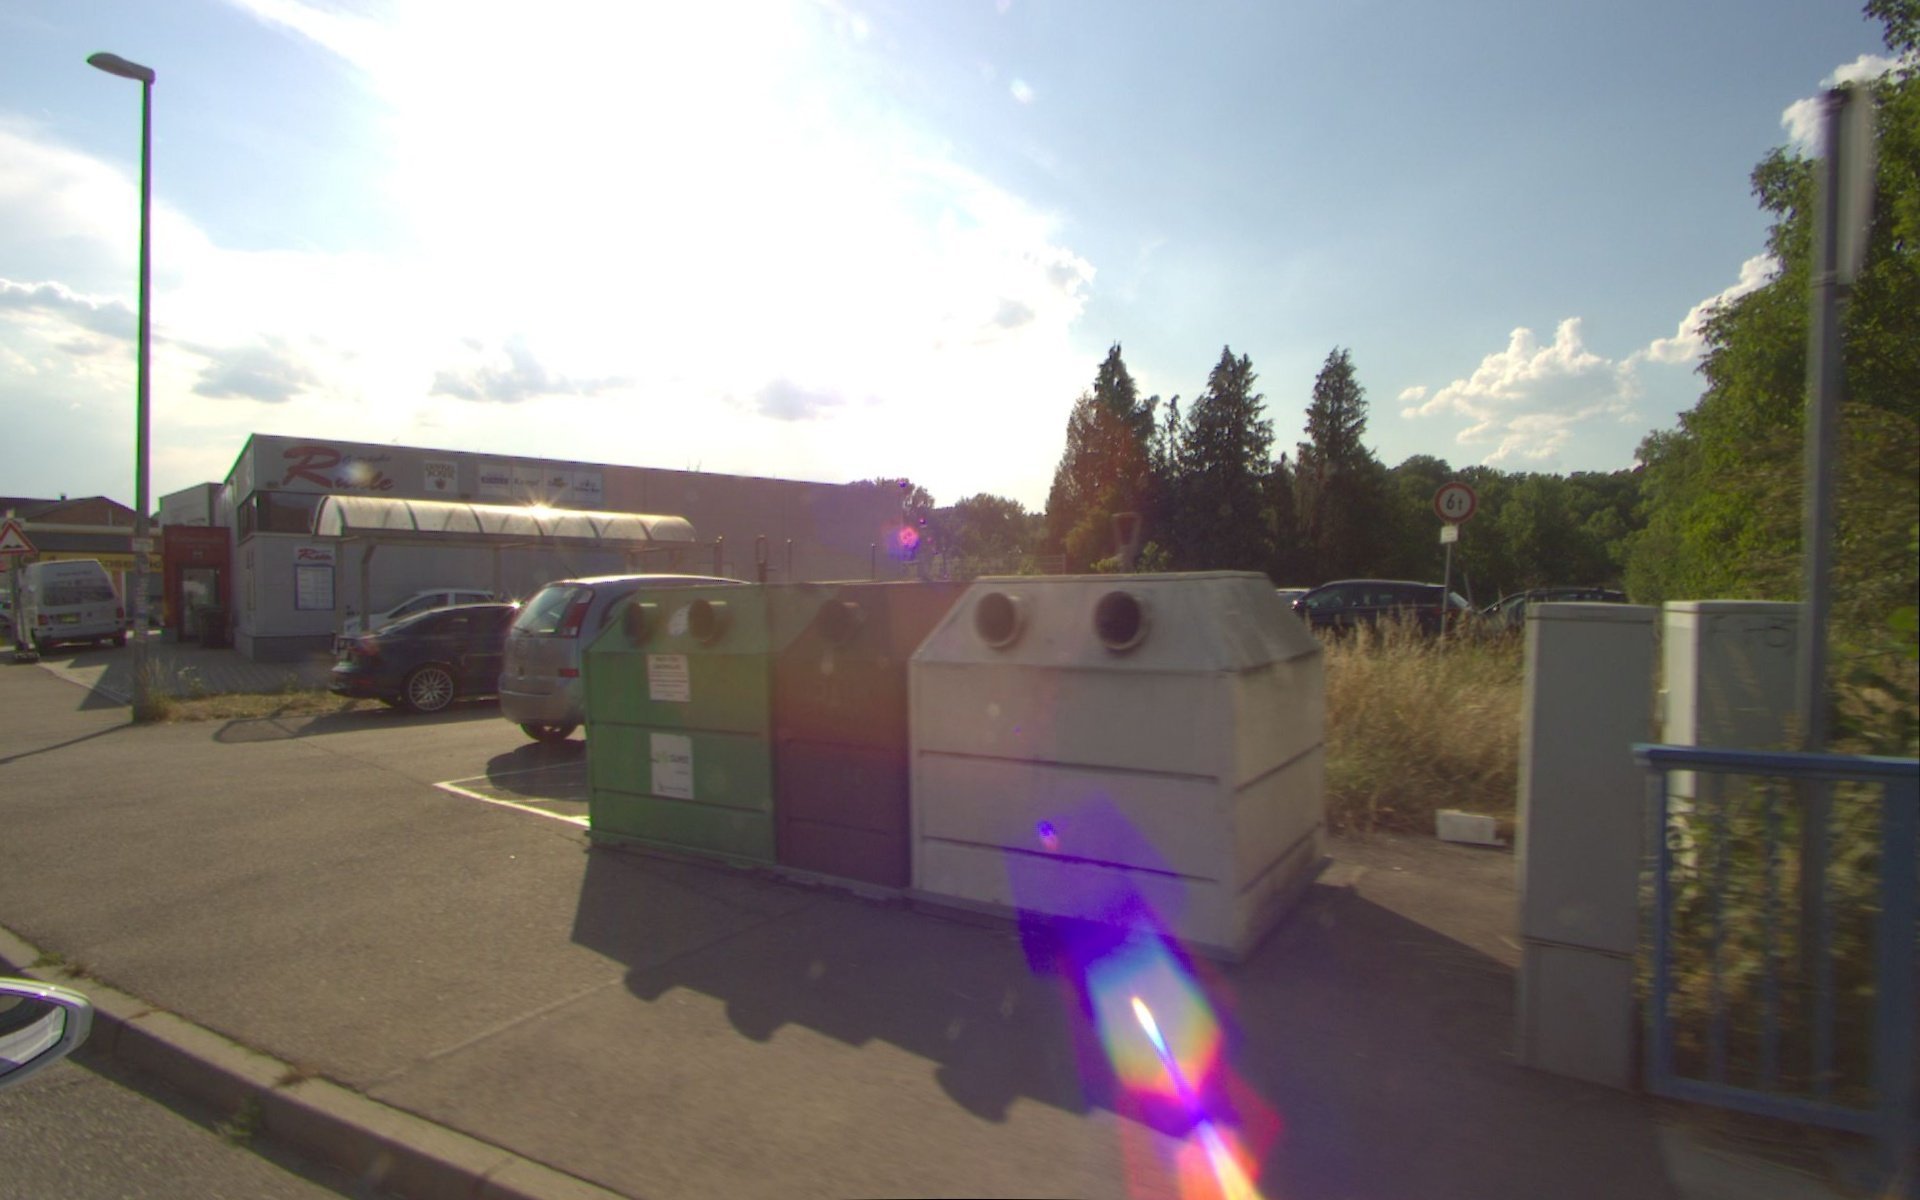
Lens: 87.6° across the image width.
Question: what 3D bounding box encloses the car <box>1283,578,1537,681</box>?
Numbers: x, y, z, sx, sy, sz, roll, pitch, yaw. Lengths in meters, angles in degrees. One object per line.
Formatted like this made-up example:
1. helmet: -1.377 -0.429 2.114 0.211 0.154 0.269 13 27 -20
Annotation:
1. car: 8.077 0.466 18.165 3.907 1.675 1.668 0 1 42

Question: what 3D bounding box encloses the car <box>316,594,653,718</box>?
1. car: -6.662 0.681 14.304 4.034 1.436 1.610 -2 2 -43

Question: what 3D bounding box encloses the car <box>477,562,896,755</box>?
1. car: -2.664 0.486 10.414 1.664 1.624 3.916 0 0 43

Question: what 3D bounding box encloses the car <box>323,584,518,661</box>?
1. car: -11.693 0.433 21.801 3.524 1.477 1.486 -2 3 -38

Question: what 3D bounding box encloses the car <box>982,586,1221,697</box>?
1. car: 2.256 0.543 15.254 1.664 1.468 3.916 0 0 43

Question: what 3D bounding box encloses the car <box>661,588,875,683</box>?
1. car: -3.298 0.550 17.588 3.411 1.436 1.484 -2 2 -43

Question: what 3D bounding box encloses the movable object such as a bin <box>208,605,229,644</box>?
1. movable object such as a bin: -19.014 0.613 25.679 0.425 0.979 0.427 -1 2 -39

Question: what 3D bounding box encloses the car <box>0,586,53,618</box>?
1. car: -50.955 0.092 53.212 1.978 1.630 3.965 1 1 42

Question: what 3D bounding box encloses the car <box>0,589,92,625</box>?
1. car: -41.597 0.305 44.830 1.509 1.552 3.967 1 1 41

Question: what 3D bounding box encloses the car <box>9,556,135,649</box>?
1. car: -25.222 0.018 28.387 5.115 2.408 1.827 1 3 40

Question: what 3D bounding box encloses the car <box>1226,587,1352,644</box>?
1. car: 9.650 0.406 29.207 4.145 1.531 1.719 -1 1 -43

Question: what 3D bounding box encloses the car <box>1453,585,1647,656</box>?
1. car: 13.569 0.427 23.144 1.665 1.520 3.541 -1 1 -43

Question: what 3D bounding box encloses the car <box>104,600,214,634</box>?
1. car: -38.377 0.786 48.056 1.695 1.488 3.887 3 2 39

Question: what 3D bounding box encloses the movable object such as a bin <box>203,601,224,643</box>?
1. movable object such as a bin: -19.535 0.569 26.198 0.425 1.056 0.485 -1 2 -39
